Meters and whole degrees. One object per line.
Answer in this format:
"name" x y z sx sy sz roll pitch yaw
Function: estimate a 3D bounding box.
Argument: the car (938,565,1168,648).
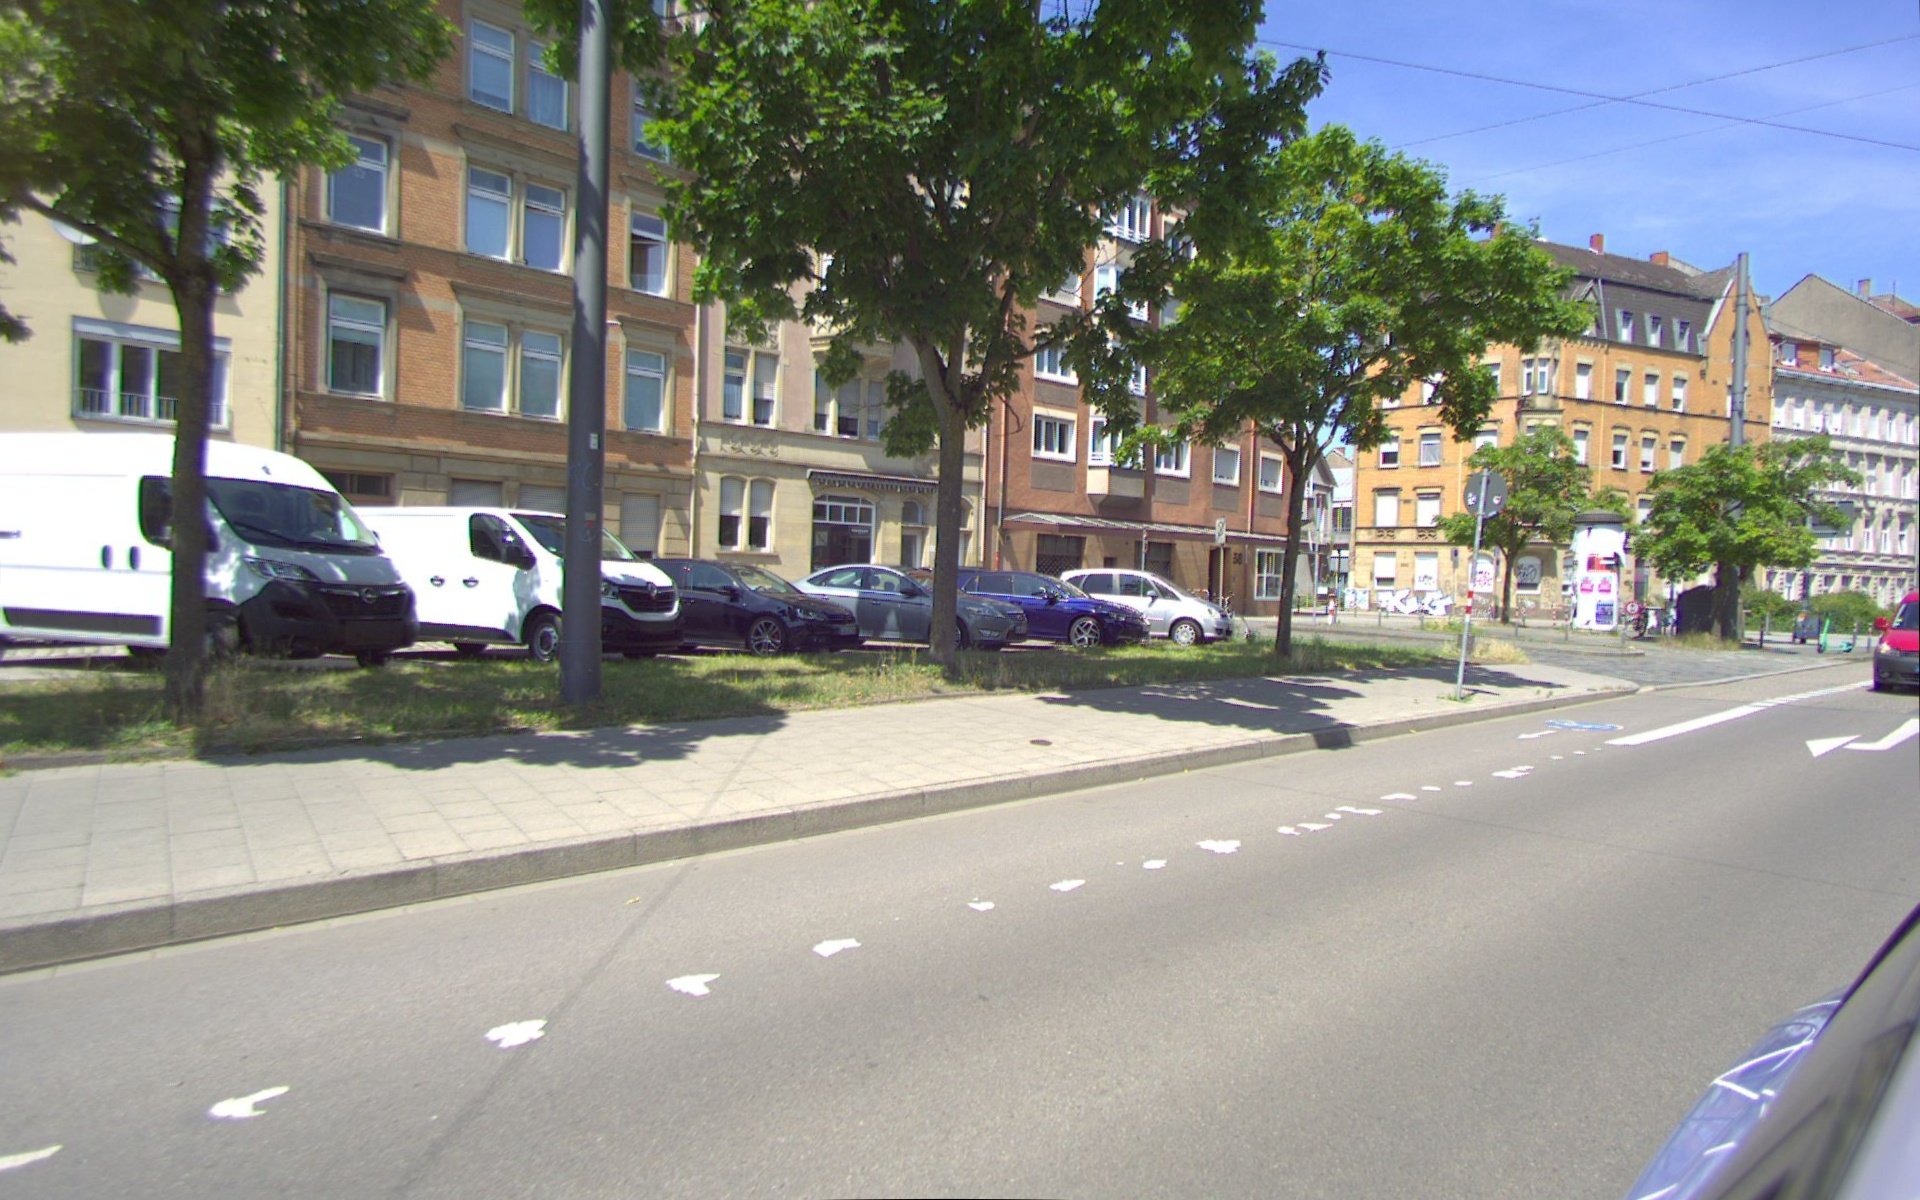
"car" 1.730 0.083 19.104 3.965 1.417 1.805 1 0 30

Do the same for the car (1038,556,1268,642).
"car" 4.037 -0.045 21.271 4.373 1.652 1.980 1 0 29

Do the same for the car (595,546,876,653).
"car" -3.393 -0.029 15.162 3.965 1.404 1.805 1 0 30

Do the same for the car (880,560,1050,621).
"car" 0.180 -0.255 28.887 4.509 1.620 2.001 0 0 -33

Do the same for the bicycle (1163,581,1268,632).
"bicycle" 6.111 0.150 24.219 2.312 1.208 0.742 0 0 -8

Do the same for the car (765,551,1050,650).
"car" -0.924 -0.017 17.464 4.587 1.516 1.947 1 0 27

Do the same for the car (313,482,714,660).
"car" -5.806 -0.350 13.193 4.791 1.998 2.061 0 0 22

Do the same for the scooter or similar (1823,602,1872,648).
"scooter or similar" 25.273 0.717 28.830 1.154 1.228 0.393 3 3 -16

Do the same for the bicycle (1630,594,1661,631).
"bicycle" 22.221 0.379 32.803 1.680 1.167 0.486 0 0 -43

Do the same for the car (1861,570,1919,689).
"car" 17.179 0.468 17.136 5.069 1.857 1.860 0 0 -36

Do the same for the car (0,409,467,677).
"car" -8.544 -0.561 11.156 5.470 2.491 2.228 0 0 14
